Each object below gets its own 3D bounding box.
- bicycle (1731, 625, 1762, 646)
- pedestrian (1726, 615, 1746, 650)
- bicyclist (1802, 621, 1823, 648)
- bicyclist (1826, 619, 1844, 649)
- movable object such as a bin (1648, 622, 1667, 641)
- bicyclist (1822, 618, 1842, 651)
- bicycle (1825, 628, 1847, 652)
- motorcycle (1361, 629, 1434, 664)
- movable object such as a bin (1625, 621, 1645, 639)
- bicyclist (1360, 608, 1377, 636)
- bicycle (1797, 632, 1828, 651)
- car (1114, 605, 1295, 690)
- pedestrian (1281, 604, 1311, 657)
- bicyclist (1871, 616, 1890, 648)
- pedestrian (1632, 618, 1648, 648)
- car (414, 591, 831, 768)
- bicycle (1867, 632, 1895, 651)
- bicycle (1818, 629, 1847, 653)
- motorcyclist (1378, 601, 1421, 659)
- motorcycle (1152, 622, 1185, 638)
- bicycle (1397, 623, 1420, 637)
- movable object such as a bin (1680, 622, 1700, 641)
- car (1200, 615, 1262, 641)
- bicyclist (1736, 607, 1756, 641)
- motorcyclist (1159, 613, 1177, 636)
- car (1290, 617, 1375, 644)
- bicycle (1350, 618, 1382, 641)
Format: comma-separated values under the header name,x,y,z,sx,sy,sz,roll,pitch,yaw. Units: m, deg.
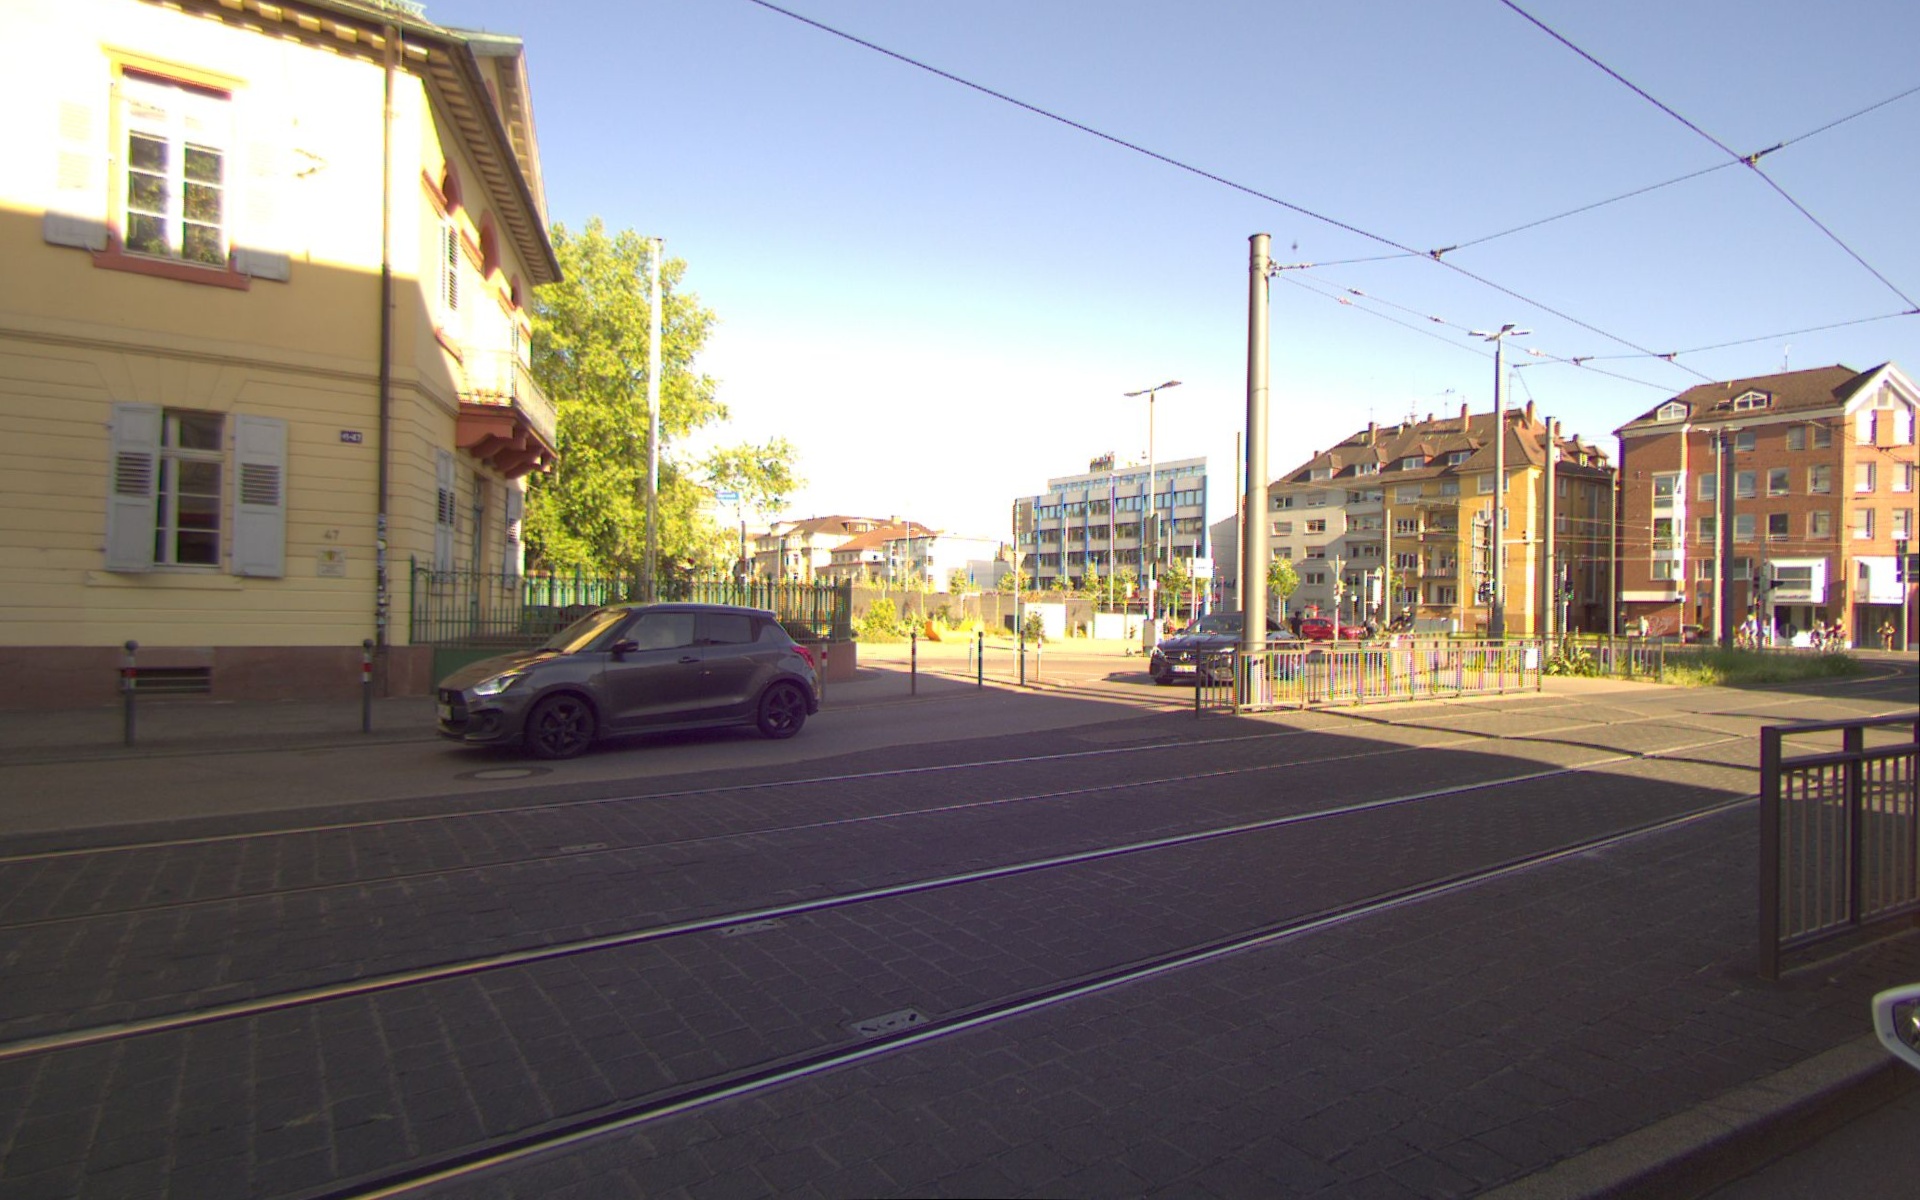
name,x,y,z,sx,sy,sz,roll,pitch,yaw
bicycle,40.359,1.811,51.544,1.862,1.027,0.527,2,0,-29
pedestrian,45.494,1.919,58.885,0.819,2.040,0.592,2,0,-27
bicyclist,47.211,1.902,55.627,0.721,1.473,0.661,2,0,-29
bicyclist,49.333,1.920,56.648,0.799,1.671,0.584,2,0,-37
movable object such as a bin,55.456,2.481,79.878,1.087,1.456,0.988,2,0,-39
bicyclist,46.191,1.816,53.212,0.761,1.695,0.518,2,0,-29
bicycle,49.538,2.281,56.796,2.008,1.308,0.569,2,0,-38
motorcycle,12.137,1.291,27.846,2.127,0.939,0.597,2,0,-25
movable object such as a bin,54.498,2.438,81.103,1.087,1.456,0.988,2,0,-39
bicyclist,22.216,1.213,54.594,0.605,1.513,0.608,2,0,-44
bicycle,47.256,2.309,55.665,1.862,1.027,0.647,2,0,-29
car,5.108,0.919,20.508,1.756,1.529,4.648,-1,-2,39
pedestrian,12.697,1.143,38.019,0.784,1.959,0.724,2,0,-9
bicyclist,50.364,1.747,54.970,0.761,1.695,0.522,2,0,-28
pedestrian,39.419,1.918,58.218,0.700,1.711,0.619,-1,2,-42
car,-3.438,0.737,10.652,3.833,1.529,1.760,2,-2,-43
bicycle,50.455,2.265,55.028,1.873,1.027,0.527,2,0,-29
bicycle,46.238,2.160,53.248,1.862,1.230,0.527,2,0,-29
motorcyclist,12.181,0.828,27.851,0.872,1.579,0.650,2,0,-25
motorcycle,14.447,2.077,69.714,0.784,0.997,2.342,2,0,-36
bicycle,26.367,1.740,59.058,1.160,0.774,0.318,2,0,45
movable object such as a bin,56.701,2.441,77.966,1.087,1.456,0.988,2,0,-39
car,17.605,1.815,65.352,1.560,1.491,3.673,2,0,-36
bicyclist,40.349,1.227,51.532,0.761,1.695,0.518,2,0,-29
motorcyclist,14.423,1.721,69.750,0.775,1.544,0.914,2,0,-36
car,22.053,1.811,59.588,1.768,1.529,4.513,1,-2,-39
bicycle,22.105,1.608,54.712,0.608,1.148,1.481,2,0,-43
